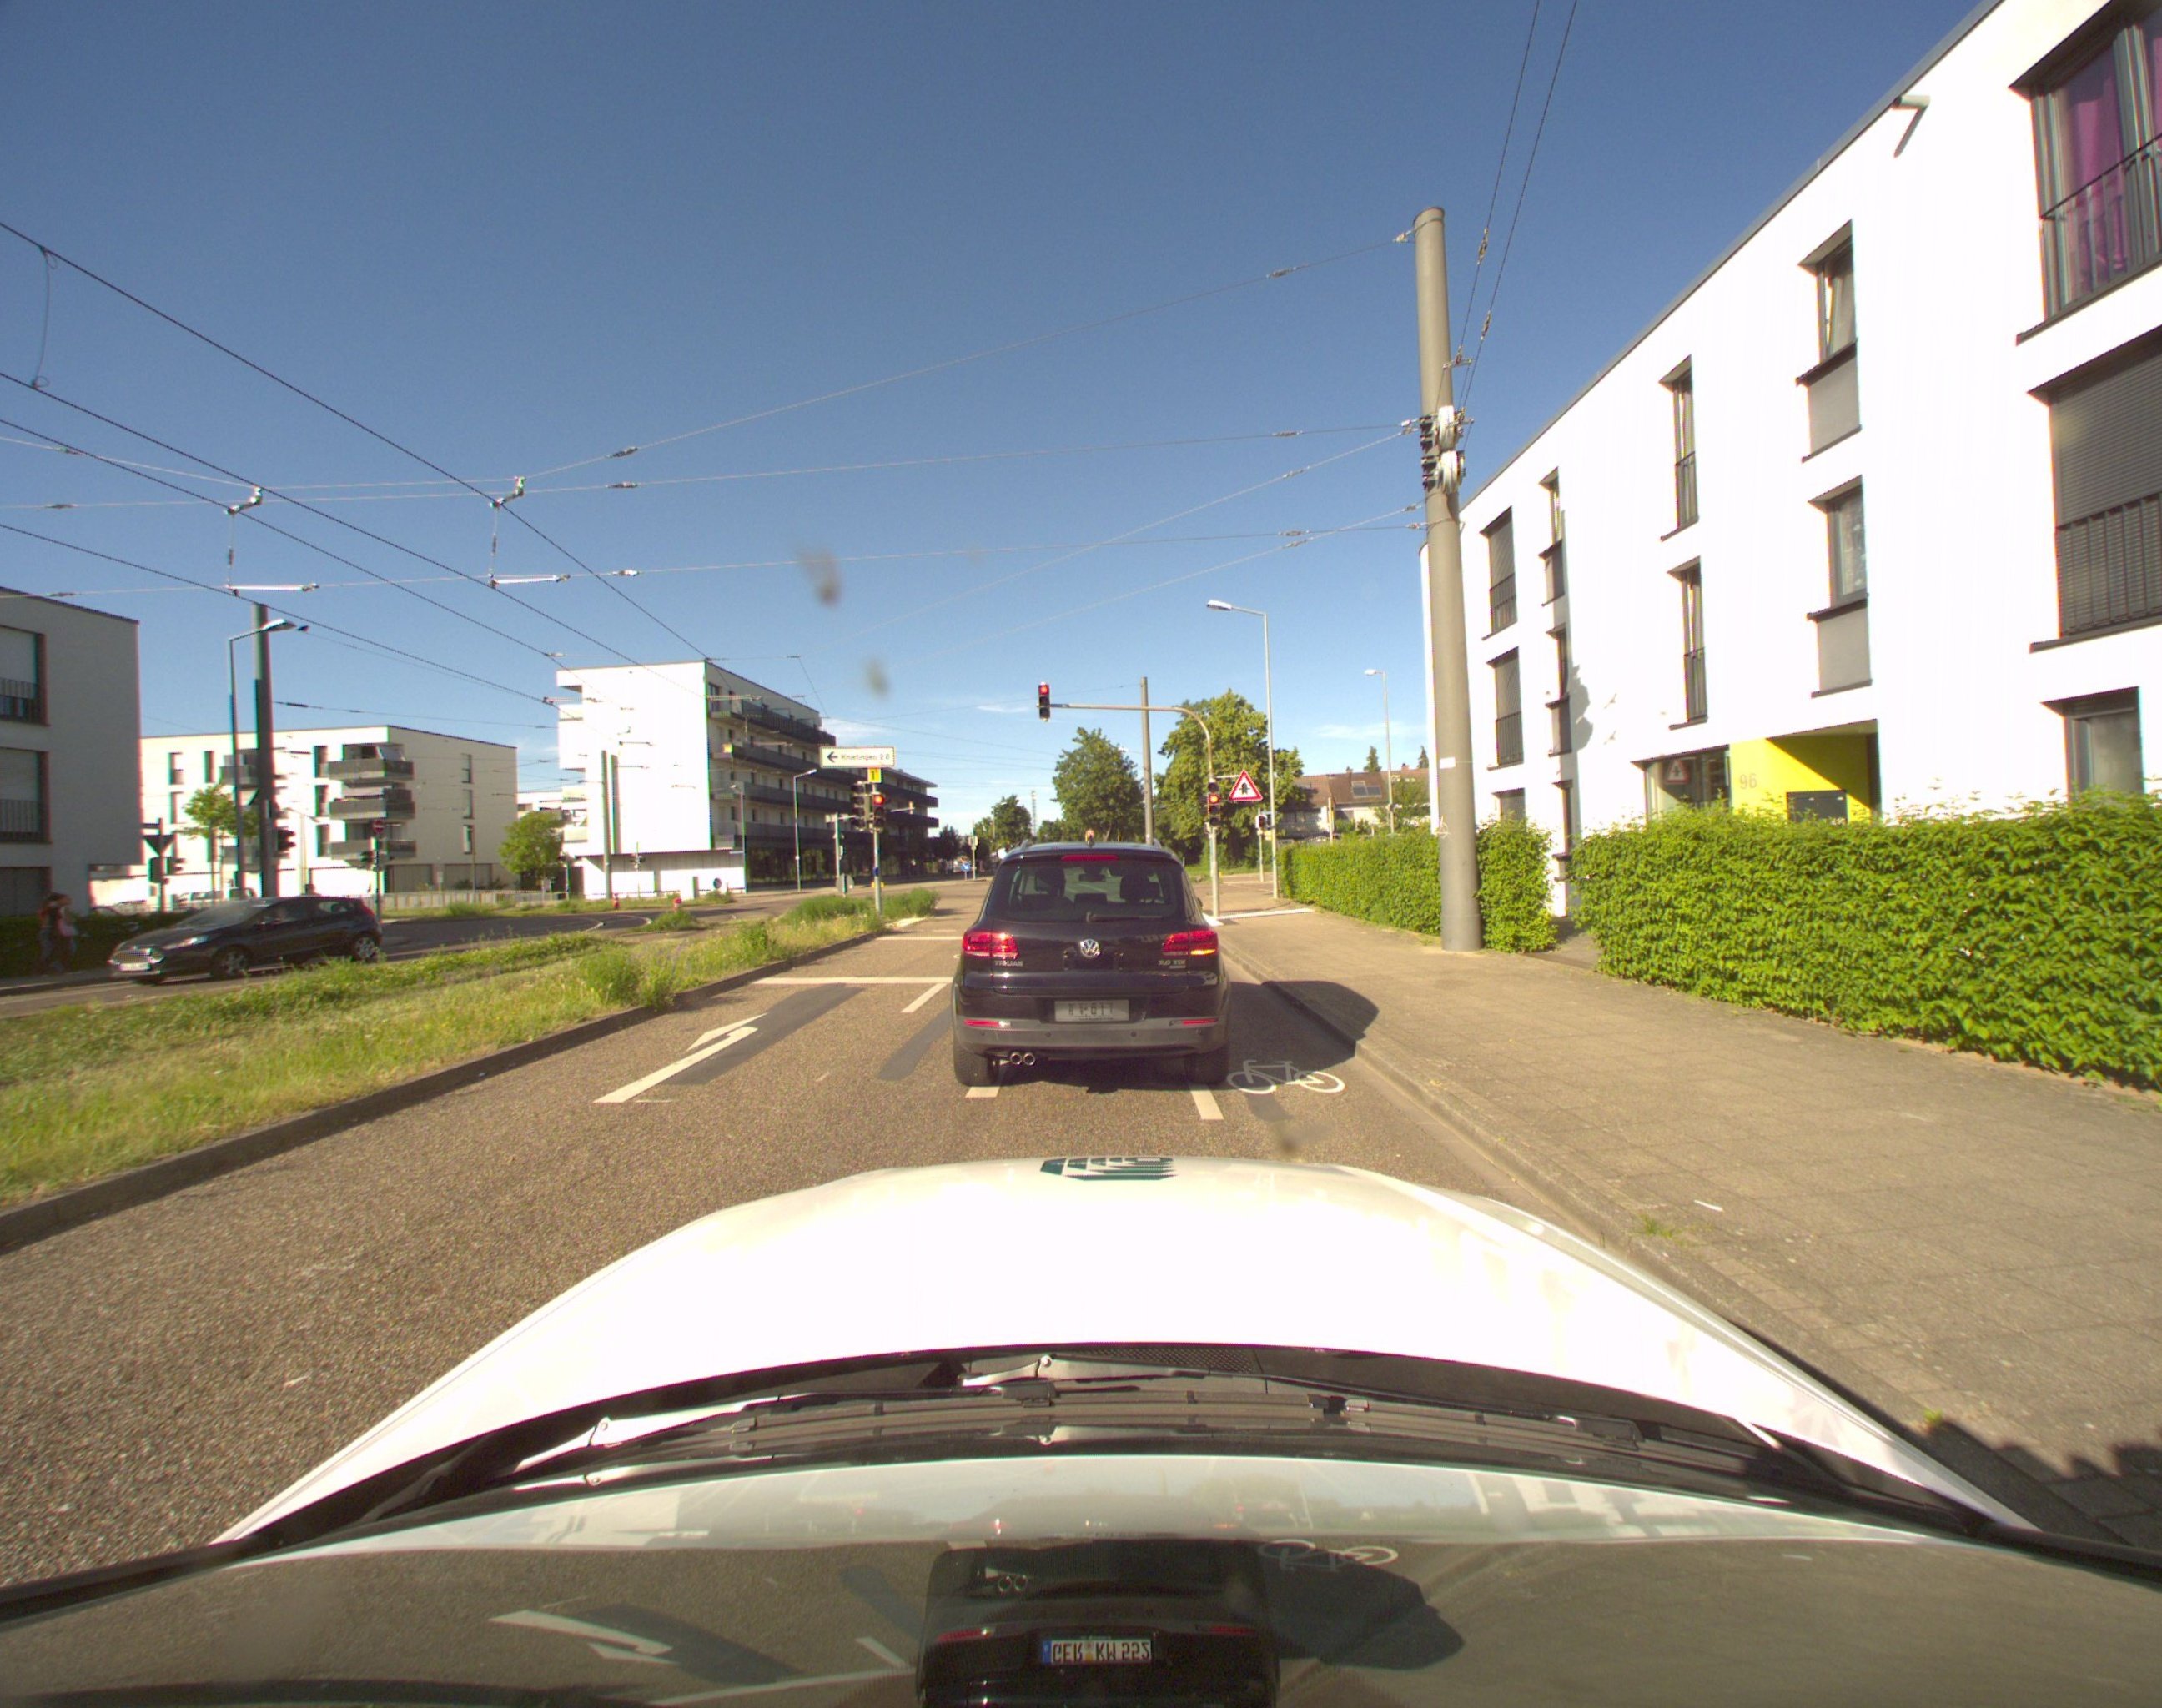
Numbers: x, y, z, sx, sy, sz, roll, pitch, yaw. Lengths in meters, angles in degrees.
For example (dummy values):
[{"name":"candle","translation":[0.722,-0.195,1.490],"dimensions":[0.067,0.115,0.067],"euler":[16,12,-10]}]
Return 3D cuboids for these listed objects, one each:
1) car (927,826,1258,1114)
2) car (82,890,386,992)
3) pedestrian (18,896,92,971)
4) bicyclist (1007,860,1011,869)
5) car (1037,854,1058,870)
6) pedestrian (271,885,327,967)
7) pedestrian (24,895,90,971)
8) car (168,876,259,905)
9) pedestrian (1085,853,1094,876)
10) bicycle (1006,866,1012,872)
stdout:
[{"name":"car","translation":[0.089,0.673,6.738],"dimensions":[1.899,1.643,4.000],"euler":[-1,0,0]},{"name":"car","translation":[-16.011,1.559,15.721],"dimensions":[1.695,1.430,3.745],"euler":[-4,0,5]},{"name":"pedestrian","translation":[-21.159,1.625,16.809],"dimensions":[0.555,1.464,0.743],"euler":[-1,0,3]},{"name":"bicyclist","translation":[-10.658,1.570,120.049],"dimensions":[0.472,1.223,0.713],"euler":[-1,0,5]},{"name":"car","translation":[-3.001,0.736,73.570],"dimensions":[1.745,1.387,4.000],"euler":[-1,0,0]},{"name":"pedestrian","translation":[-19.788,1.801,20.632],"dimensions":[0.761,2.013,0.667],"euler":[-1,0,-12]},{"name":"pedestrian","translation":[-20.637,1.587,16.417],"dimensions":[0.554,1.464,0.613],"euler":[-1,0,6]},{"name":"car","translation":[-58.725,2.438,55.184],"dimensions":[3.974,1.838,2.000],"euler":[-1,0,0]},{"name":"pedestrian","translation":[0.620,0.764,59.960],"dimensions":[0.600,1.640,0.530],"euler":[-1,0,6]},{"name":"bicycle","translation":[-10.648,2.174,119.990],"dimensions":[0.493,0.848,2.082],"euler":[-1,0,6]}]
